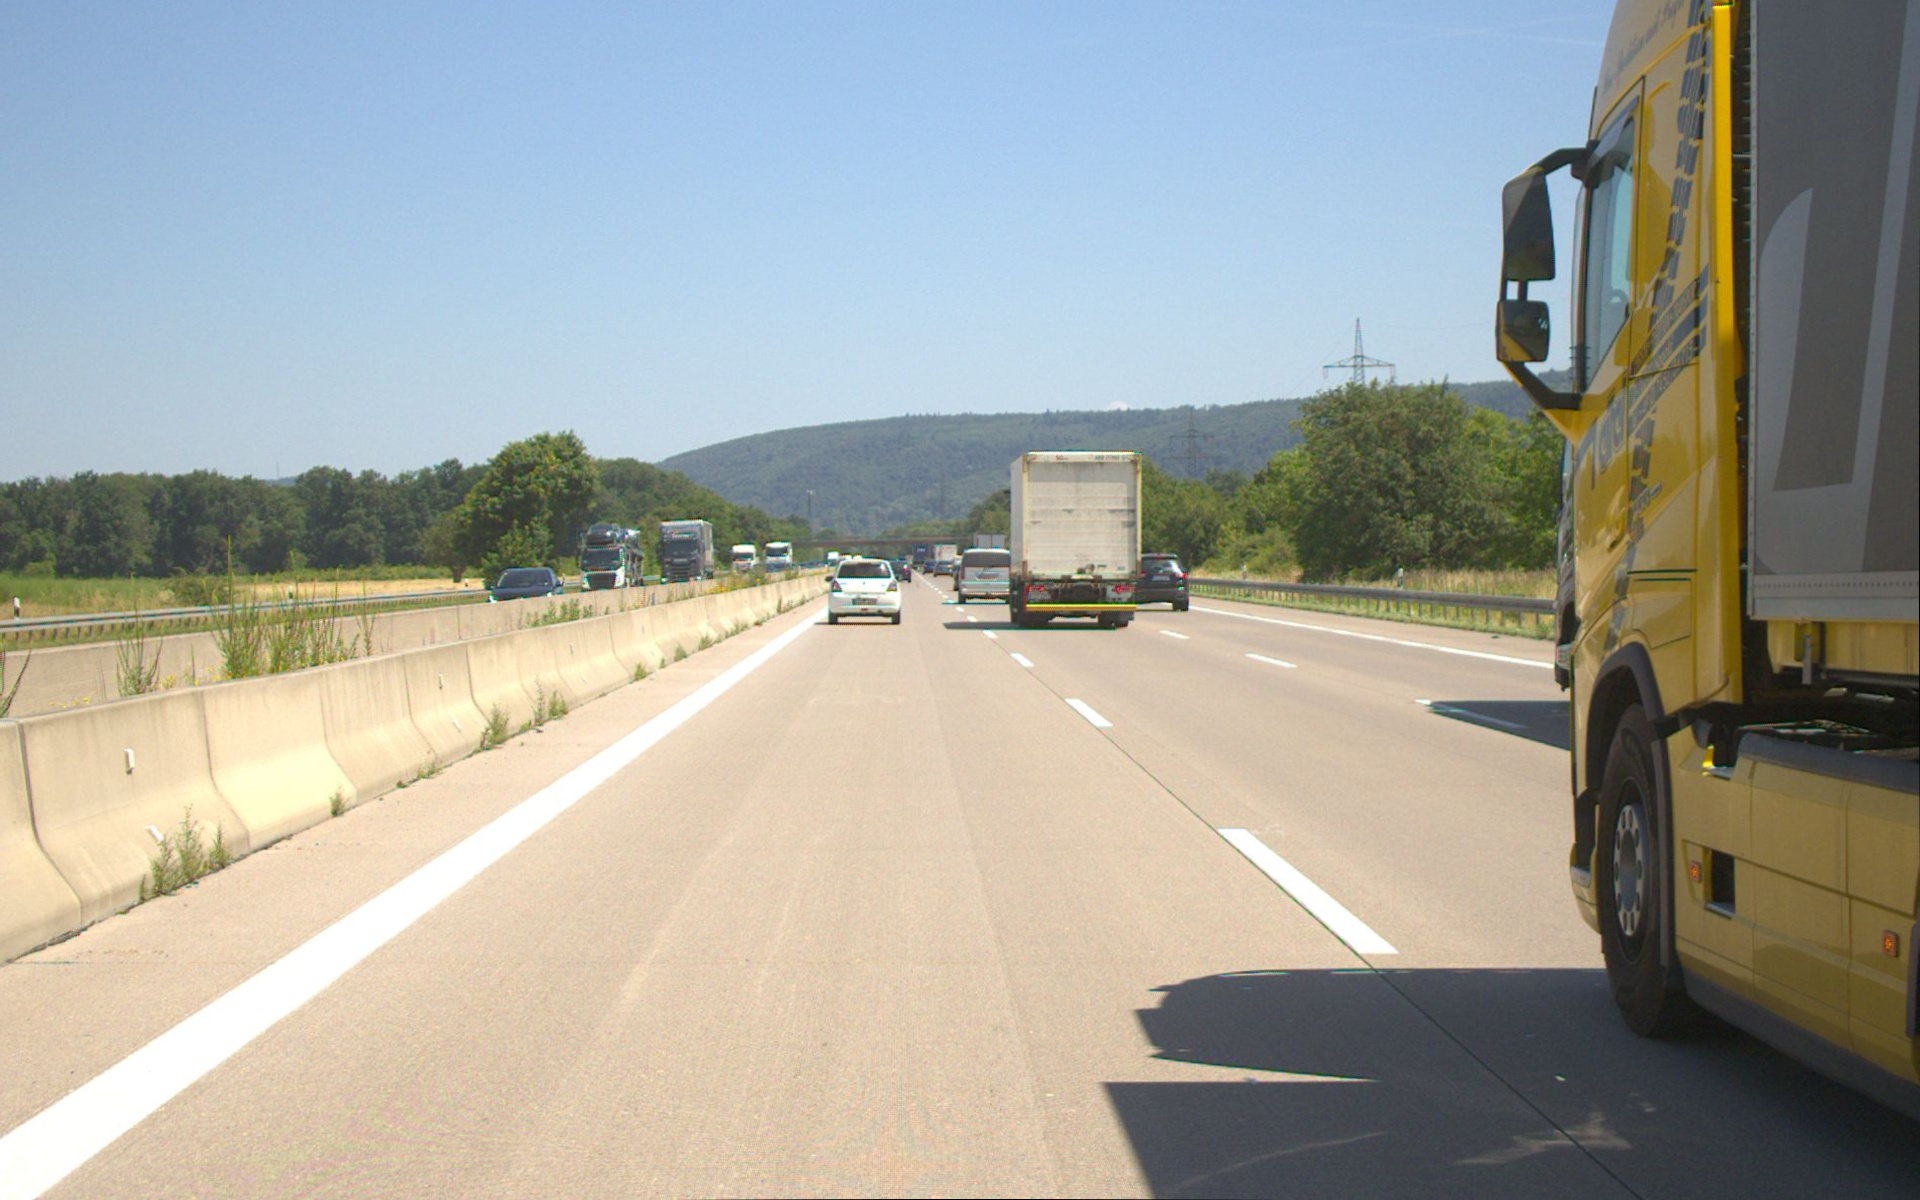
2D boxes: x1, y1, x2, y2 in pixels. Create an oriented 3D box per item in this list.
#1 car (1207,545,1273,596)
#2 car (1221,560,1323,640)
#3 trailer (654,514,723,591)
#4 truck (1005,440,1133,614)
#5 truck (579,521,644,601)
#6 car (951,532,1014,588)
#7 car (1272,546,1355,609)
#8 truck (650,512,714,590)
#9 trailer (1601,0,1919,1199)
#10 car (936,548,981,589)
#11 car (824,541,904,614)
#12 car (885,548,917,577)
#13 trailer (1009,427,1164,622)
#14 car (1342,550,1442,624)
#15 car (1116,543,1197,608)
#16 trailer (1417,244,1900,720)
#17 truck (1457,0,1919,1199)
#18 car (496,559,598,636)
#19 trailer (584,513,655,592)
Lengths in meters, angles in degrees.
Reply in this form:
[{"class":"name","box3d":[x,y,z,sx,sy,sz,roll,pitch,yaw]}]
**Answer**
[{"class":"car","box3d":[10.714,-1.148,131.794,1.993,1.842,4.000,2,1,-2]},{"class":"car","box3d":[7.660,-0.013,84.718,1.993,1.842,4.000,2,1,-2]},{"class":"trailer","box3d":[-16.573,-2.901,211.020,3.267,4.460,14.452,-1,1,-1]},{"class":"truck","box3d":[2.465,-1.661,79.266,2.580,3.864,4.985,1,1,-2]},{"class":"truck","box3d":[-20.333,-2.286,200.893,3.231,4.591,6.251,1,1,-1]},{"class":"car","box3d":[0.753,-1.368,118.140,1.993,1.842,4.000,1,1,-1]},{"class":"car","box3d":[11.060,-0.710,107.747,1.993,1.842,4.000,2,1,-2]},{"class":"truck","box3d":[-16.453,-2.888,203.867,3.267,4.460,7.190,-1,1,-1]},{"class":"trailer","box3d":[3.162,-0.655,2.732,1.993,4.240,15.201,1,1,-2]},{"class":"car","box3d":[-0.070,-1.536,166.737,1.993,1.842,4.000,2,1,-2]},{"class":"car","box3d":[-2.266,-0.542,80.734,1.819,1.656,4.000,0,1,-2]},{"class":"car","box3d":[-3.915,-2.473,228.065,1.993,1.842,4.000,2,1,-2]},{"class":"trailer","box3d":[2.615,-1.571,73.978,2.580,3.864,10.374,1,1,-2]},{"class":"car","box3d":[11.529,-0.365,91.978,1.993,1.842,4.000,2,1,-2]},{"class":"car","box3d":[5.843,-0.740,102.688,1.993,1.842,4.000,2,1,-2]},{"class":"trailer","box3d":[7.154,-1.127,37.775,1.993,4.178,14.747,1,1,-1]},{"class":"truck","box3d":[2.951,-0.794,10.245,1.993,4.240,5.195,1,1,-2]},{"class":"car","box3d":[-10.388,-0.084,86.896,1.993,1.856,5.467,1,1,-1]},{"class":"trailer","box3d":[-20.428,-2.841,206.996,3.231,4.591,12.294,1,1,-1]}]
